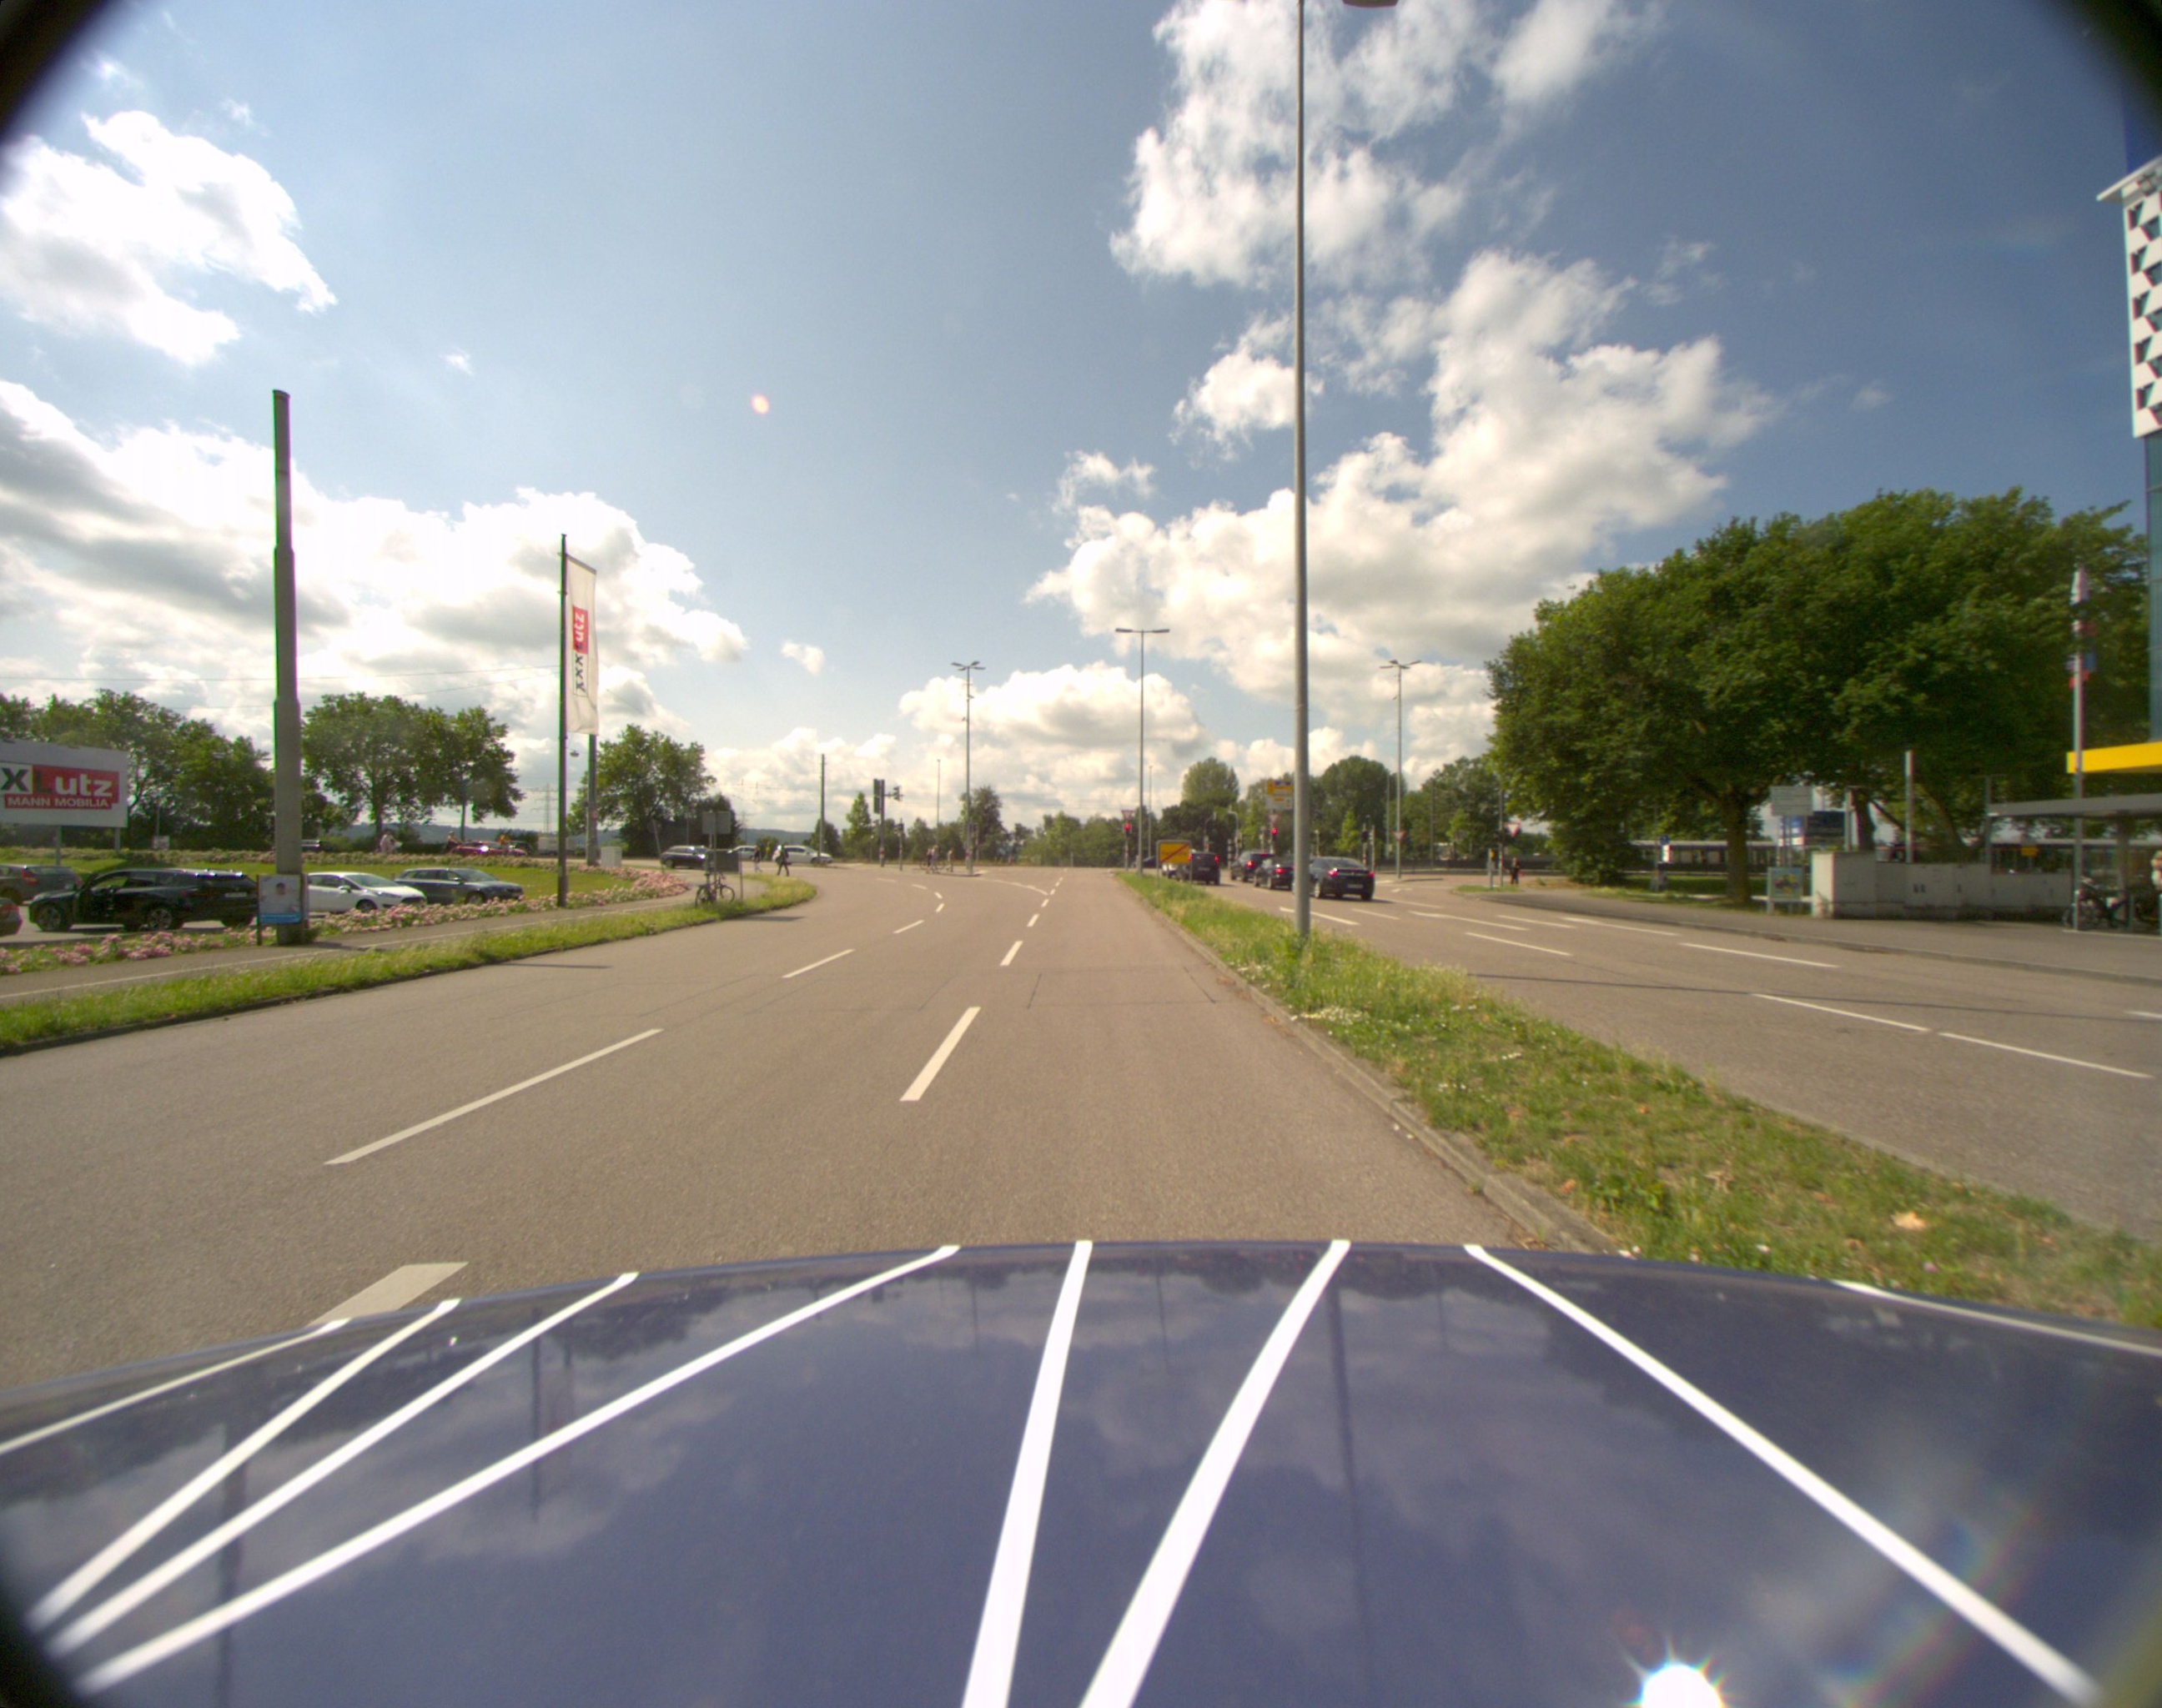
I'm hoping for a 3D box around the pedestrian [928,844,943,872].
[{"bbox_3d":[-9.116,0.259,47.579,0.688,1.718,0.701,1,2,12],"label":"pedestrian"}]

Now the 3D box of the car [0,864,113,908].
[{"bbox_3d":[-38.289,1.114,27.346,4.369,1.400,2.050,1,-1,2],"label":"car"}]

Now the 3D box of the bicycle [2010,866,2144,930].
[{"bbox_3d":[20.590,0.903,15.731,1.930,1.265,0.630,-1,0,0],"label":"bicycle"}]

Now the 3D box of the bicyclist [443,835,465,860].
[{"bbox_3d":[-37.221,-0.391,45.088,0.742,1.466,0.651,-1,0,1],"label":"bicyclist"}]

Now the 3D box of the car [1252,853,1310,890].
[{"bbox_3d":[8.538,0.697,32.788,1.415,1.383,4.095,2,1,1],"label":"car"}]

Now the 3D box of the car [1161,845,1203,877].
[{"bbox_3d":[5.607,0.364,42.791,1.712,1.610,4.376,1,1,0],"label":"car"}]

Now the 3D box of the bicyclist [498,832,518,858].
[{"bbox_3d":[-33.904,-0.505,44.958,0.696,1.526,0.621,-1,0,5],"label":"bicyclist"}]

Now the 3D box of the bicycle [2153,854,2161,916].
[{"bbox_3d":[22.826,0.613,15.171,1.930,1.265,0.630,-1,0,0],"label":"bicycle"}]

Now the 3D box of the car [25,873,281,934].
[{"bbox_3d":[-23.881,1.251,19.677,4.369,1.408,1.857,0,1,1],"label":"car"}]

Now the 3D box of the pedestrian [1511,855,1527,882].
[{"bbox_3d":[24.150,0.805,41.903,0.439,1.482,0.619,-1,1,-16],"label":"pedestrian"}]

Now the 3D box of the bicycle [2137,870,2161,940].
[{"bbox_3d":[20.643,0.914,13.836,1.930,1.265,0.630,-1,0,0],"label":"bicycle"}]

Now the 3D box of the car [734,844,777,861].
[{"bbox_3d":[-32.255,-0.181,75.437,3.491,1.448,1.699,-3,3,-8],"label":"car"}]

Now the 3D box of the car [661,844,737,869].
[{"bbox_3d":[-23.975,0.112,47.731,4.192,1.475,1.919,1,2,20],"label":"car"}]

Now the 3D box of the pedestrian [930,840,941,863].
[{"bbox_3d":[-10.253,-0.178,53.500,0.686,1.526,0.506,5,-3,-11],"label":"pedestrian"}]

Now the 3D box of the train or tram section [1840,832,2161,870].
[{"bbox_3d":[85.919,-0.280,71.296,25.113,3.014,4.530,1,0,-1],"label":"train or tram section"}]

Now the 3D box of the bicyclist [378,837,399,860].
[{"bbox_3d":[-41.216,-0.331,45.228,0.687,1.318,0.593,-1,0,1],"label":"bicyclist"}]

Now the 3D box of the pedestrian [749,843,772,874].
[{"bbox_3d":[-18.490,0.262,43.843,0.860,1.755,0.867,0,1,28],"label":"pedestrian"}]

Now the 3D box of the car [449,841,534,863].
[{"bbox_3d":[-38.627,-0.138,49.816,4.245,1.353,1.749,1,1,2],"label":"car"}]

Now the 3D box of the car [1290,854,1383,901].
[{"bbox_3d":[8.814,0.755,26.622,1.668,1.413,4.518,2,1,0],"label":"car"}]

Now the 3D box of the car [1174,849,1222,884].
[{"bbox_3d":[5.443,0.523,35.817,1.608,1.485,4.131,2,1,0],"label":"car"}]

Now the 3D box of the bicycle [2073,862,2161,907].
[{"bbox_3d":[28.147,0.812,20.628,1.961,1.165,0.467,-1,0,-4],"label":"bicycle"}]

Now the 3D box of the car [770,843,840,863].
[{"bbox_3d":[-20.642,-0.061,56.906,4.495,1.405,2.013,0,0,-2],"label":"car"}]

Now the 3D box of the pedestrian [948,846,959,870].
[{"bbox_3d":[-8.278,0.278,49.323,0.556,1.515,0.470,-1,0,9],"label":"pedestrian"}]

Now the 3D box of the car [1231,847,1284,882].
[{"bbox_3d":[9.260,0.524,40.127,1.775,1.606,3.998,2,2,0],"label":"car"}]

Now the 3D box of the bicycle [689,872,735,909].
[{"bbox_3d":[-10.415,1.018,21.494,0.518,0.947,1.543,-1,1,0],"label":"bicycle"}]

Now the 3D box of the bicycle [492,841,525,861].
[{"bbox_3d":[-33.874,-0.190,44.959,1.503,1.158,0.621,-1,0,5],"label":"bicycle"}]

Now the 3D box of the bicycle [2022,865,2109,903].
[{"bbox_3d":[28.317,0.861,21.873,1.939,1.064,0.529,0,1,-4],"label":"bicycle"}]

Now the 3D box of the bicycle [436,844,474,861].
[{"bbox_3d":[-37.165,-0.103,45.086,1.695,0.955,0.666,-1,0,1],"label":"bicycle"}]

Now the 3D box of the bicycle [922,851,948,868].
[{"bbox_3d":[-10.276,0.414,53.480,1.696,1.040,0.507,5,-3,-12],"label":"bicycle"}]

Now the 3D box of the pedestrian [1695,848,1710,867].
[{"bbox_3d":[60.781,0.301,74.265,0.792,1.842,0.761,1,0,-8],"label":"pedestrian"}]

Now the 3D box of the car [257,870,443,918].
[{"bbox_3d":[-23.771,1.288,24.816,4.369,1.431,1.796,0,1,1],"label":"car"}]

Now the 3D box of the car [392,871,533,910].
[{"bbox_3d":[-23.864,1.386,29.437,3.997,1.410,1.715,0,1,-1],"label":"car"}]

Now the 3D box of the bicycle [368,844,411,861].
[{"bbox_3d":[-41.167,-0.098,45.229,1.986,0.955,0.597,-1,0,1],"label":"bicycle"}]

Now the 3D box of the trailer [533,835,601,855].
[{"bbox_3d":[-49.839,-0.860,73.735,5.182,1.820,1.823,-1,1,-8],"label":"trailer"}]

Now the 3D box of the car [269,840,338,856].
[{"bbox_3d":[-77.027,-0.572,75.301,4.779,1.499,1.967,0,-2,-1],"label":"car"}]

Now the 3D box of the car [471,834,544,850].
[{"bbox_3d":[-55.054,-1.152,73.062,5.251,1.565,1.998,-1,1,-8],"label":"car"}]

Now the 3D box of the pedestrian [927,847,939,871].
[{"bbox_3d":[-9.415,0.337,48.401,0.584,1.515,0.469,0,1,9],"label":"pedestrian"}]

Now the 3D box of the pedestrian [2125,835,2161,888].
[{"bbox_3d":[35.080,0.238,24.857,0.898,1.697,0.710,-1,1,-5],"label":"pedestrian"}]

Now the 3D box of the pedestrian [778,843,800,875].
[{"bbox_3d":[-16.464,0.261,42.862,0.820,1.792,0.761,0,1,28],"label":"pedestrian"}]

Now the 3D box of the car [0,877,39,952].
[{"bbox_3d":[-23.534,1.229,14.684,4.369,1.468,1.857,0,1,2],"label":"car"}]

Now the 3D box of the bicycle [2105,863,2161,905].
[{"bbox_3d":[28.401,0.788,20.127,1.939,1.064,0.529,0,1,-4],"label":"bicycle"}]

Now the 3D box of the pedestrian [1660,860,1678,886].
[{"bbox_3d":[30.239,0.968,39.081,0.491,1.316,0.538,0,1,1],"label":"pedestrian"}]
